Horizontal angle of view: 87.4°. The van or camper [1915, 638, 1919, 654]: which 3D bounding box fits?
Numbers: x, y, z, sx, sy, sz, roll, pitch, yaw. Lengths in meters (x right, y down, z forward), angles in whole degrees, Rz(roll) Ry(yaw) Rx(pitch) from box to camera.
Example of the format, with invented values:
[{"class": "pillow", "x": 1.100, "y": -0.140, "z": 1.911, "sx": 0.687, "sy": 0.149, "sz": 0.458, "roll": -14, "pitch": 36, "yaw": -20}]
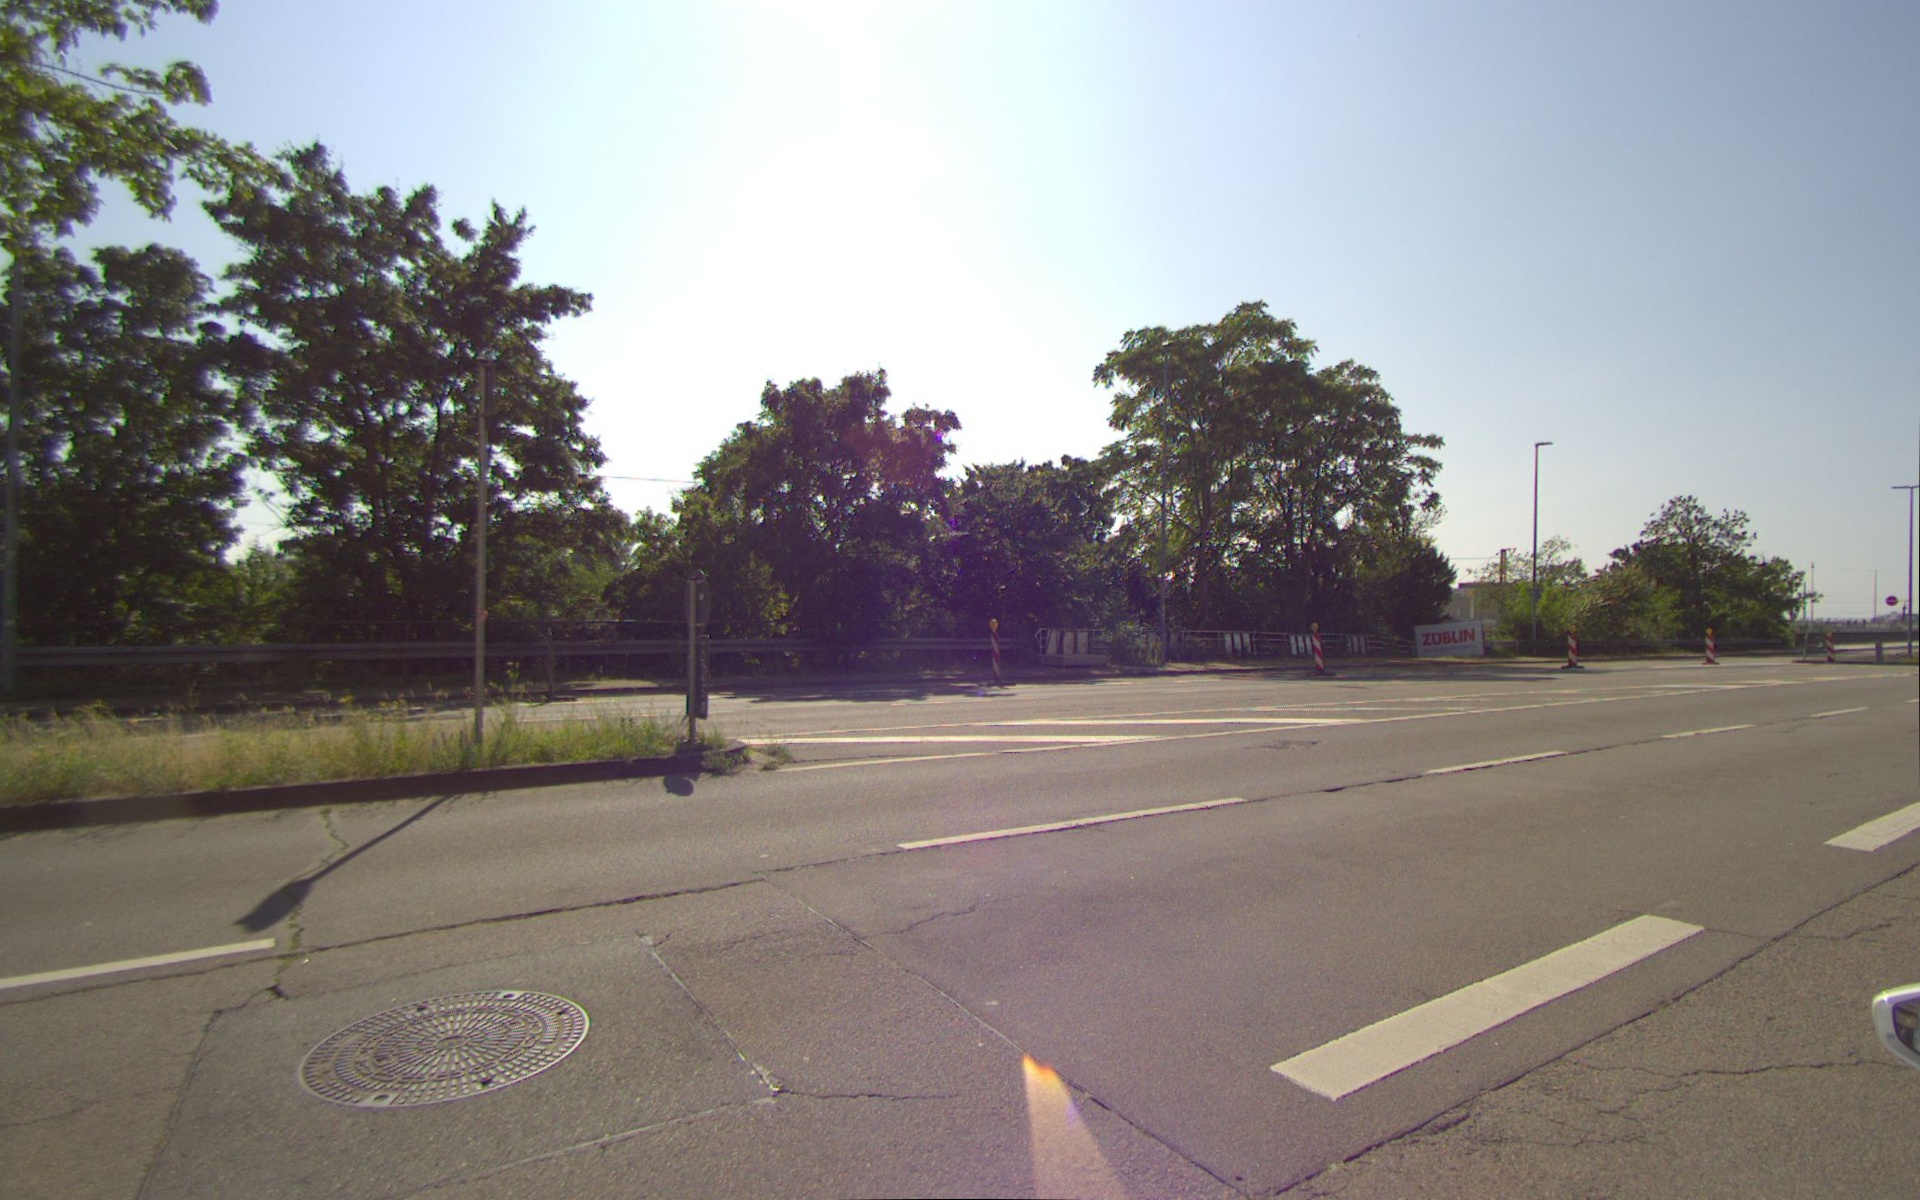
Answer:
[{"class": "van or camper", "x": 86.786, "y": 4.131, "z": 89.666, "sx": 4.587, "sy": 1.368, "sz": 1.456, "roll": 2, "pitch": -1, "yaw": -37}]
